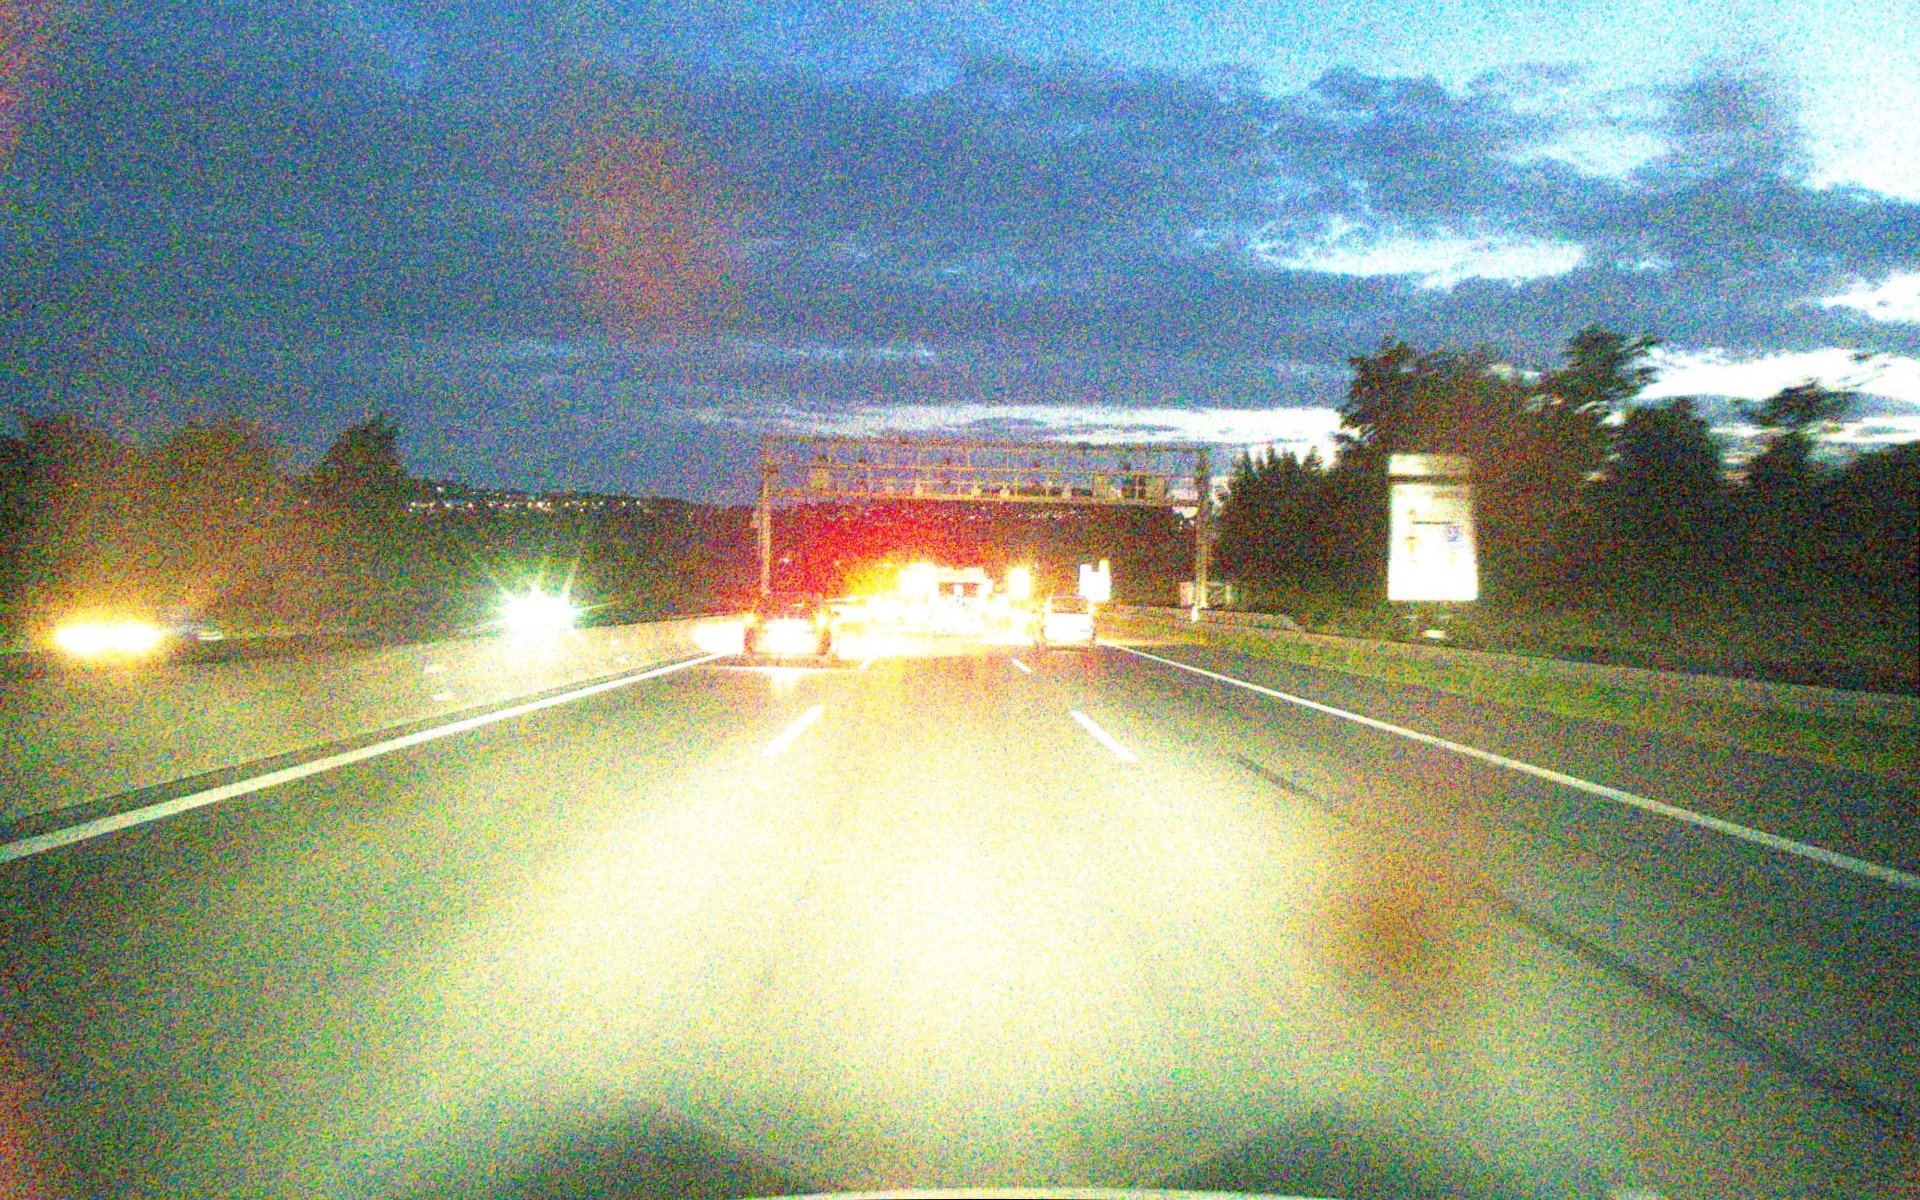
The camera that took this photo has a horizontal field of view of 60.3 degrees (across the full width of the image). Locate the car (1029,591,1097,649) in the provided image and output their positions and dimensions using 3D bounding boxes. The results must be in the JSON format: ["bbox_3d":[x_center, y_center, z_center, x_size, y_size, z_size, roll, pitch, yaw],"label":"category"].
[{"bbox_3d":[3.011,0.569,49.008,1.613,1.624,4.508,1,0,-1],"label":"car"}]

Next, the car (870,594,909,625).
[{"bbox_3d":[-3.444,0.454,81.383,1.709,1.465,4.367,0,0,0],"label":"car"}]

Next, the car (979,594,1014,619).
[{"bbox_3d":[2.366,0.395,107.480,2.119,1.591,4.722,1,0,0],"label":"car"}]

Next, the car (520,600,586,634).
[{"bbox_3d":[-19.443,0.774,79.234,1.924,1.564,5.184,0,0,0],"label":"car"}]

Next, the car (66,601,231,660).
[{"bbox_3d":[-19.582,0.701,40.122,1.864,1.305,4.349,0,0,0],"label":"car"}]

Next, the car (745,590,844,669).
[{"bbox_3d":[-3.347,0.560,34.001,1.758,1.494,3.771,1,0,-2],"label":"car"}]

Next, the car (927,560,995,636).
[{"bbox_3d":[0.011,-0.086,58.928,2.303,2.579,5.700,0,0,0],"label":"car"}]
